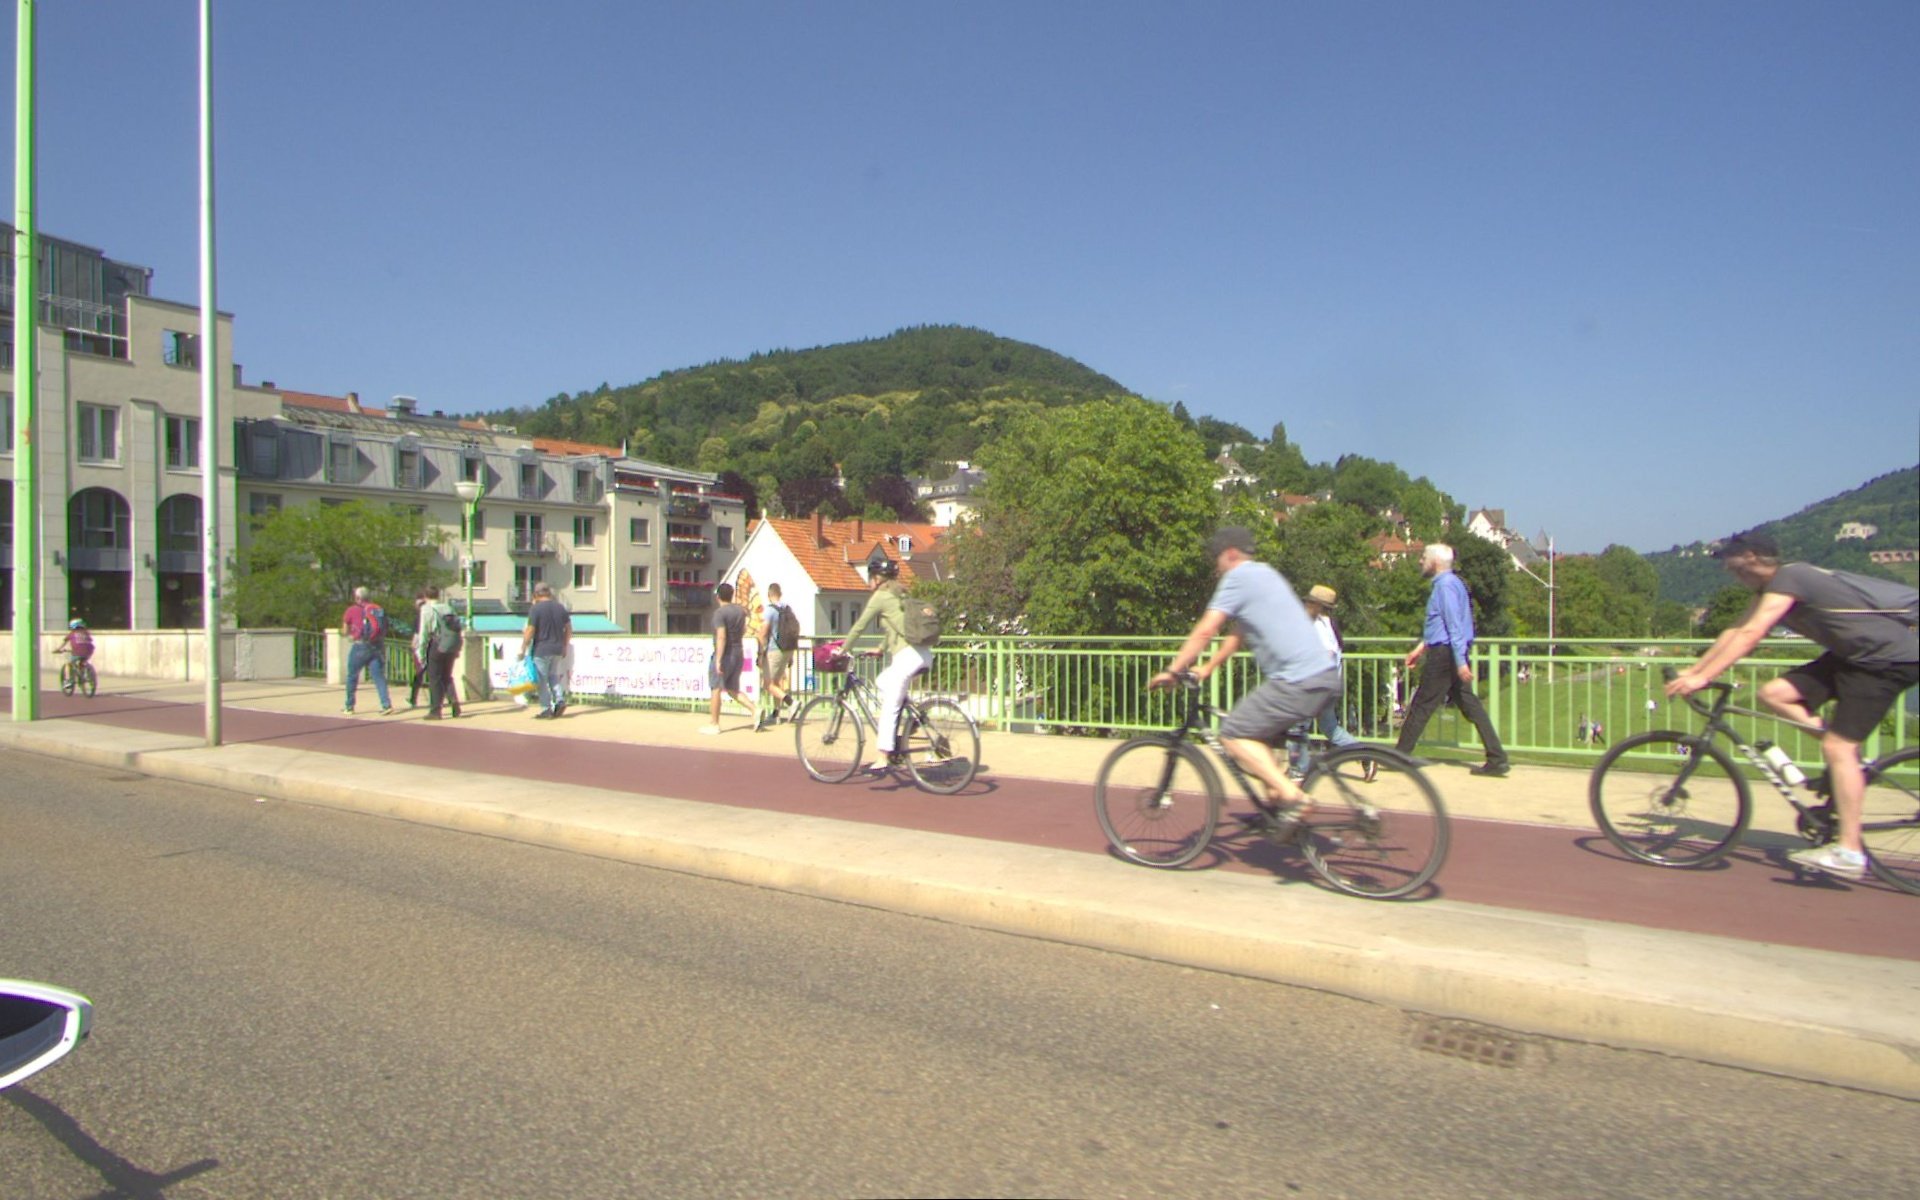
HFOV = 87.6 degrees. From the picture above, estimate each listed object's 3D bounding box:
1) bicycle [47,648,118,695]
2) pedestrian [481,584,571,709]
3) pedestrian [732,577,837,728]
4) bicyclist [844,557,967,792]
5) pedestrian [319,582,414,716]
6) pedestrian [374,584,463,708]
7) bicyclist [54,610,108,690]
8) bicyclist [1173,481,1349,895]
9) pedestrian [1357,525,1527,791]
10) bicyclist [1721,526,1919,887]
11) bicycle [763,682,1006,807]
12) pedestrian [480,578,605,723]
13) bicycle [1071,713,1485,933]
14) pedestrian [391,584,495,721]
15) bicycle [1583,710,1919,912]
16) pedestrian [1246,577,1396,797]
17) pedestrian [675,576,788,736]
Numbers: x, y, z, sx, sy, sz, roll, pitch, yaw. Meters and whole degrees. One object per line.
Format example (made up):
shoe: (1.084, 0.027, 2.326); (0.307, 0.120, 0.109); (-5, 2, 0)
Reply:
bicycle: (-15.828, 1.270, 18.057); (1.637, 0.776, 0.512); (-1, 1, 33)
pedestrian: (-6.376, 0.656, 14.730); (1.001, 1.770, 0.737); (0, 1, 32)
pedestrian: (-2.119, 0.607, 12.090); (1.001, 1.741, 0.737); (0, 1, 32)
bicyclist: (-0.406, 0.532, 7.549); (0.691, 1.672, 0.585); (-1, 1, 30)
pedestrian: (-8.458, 0.672, 14.279); (1.001, 1.826, 0.737); (0, 1, 32)
pedestrian: (-8.149, 0.666, 15.064); (1.001, 1.801, 0.737); (0, 1, 32)
bicyclist: (-15.833, 0.886, 18.040); (0.659, 1.402, 0.532); (0, 2, 32)
bicyclist: (1.475, 0.397, 4.883); (0.691, 1.844, 0.585); (-1, 1, 30)
pedestrian: (3.828, 0.429, 7.933); (1.121, 1.923, 0.924); (0, 1, 32)
bicyclist: (4.111, 0.471, 4.771); (0.691, 1.579, 0.585); (-1, 1, 30)
bicycle: (-0.599, 1.059, 7.664); (1.839, 0.776, 0.592); (-1, 1, 30)
pedestrian: (-5.493, 0.629, 13.189); (1.190, 1.801, 0.975); (0, 1, 32)
bicycle: (1.511, 1.009, 4.881); (1.839, 0.776, 0.592); (-1, 1, 30)
pedestrian: (-6.857, 0.666, 13.291); (1.058, 1.741, 0.753); (0, 1, 32)
bicycle: (4.068, 0.981, 4.807); (1.804, 0.776, 0.592); (-1, 1, 30)
pedestrian: (2.765, 0.615, 7.639); (0.920, 1.550, 0.827); (0, 1, 32)
pedestrian: (-2.610, 0.610, 11.465); (1.001, 1.741, 0.737); (0, 1, 32)
